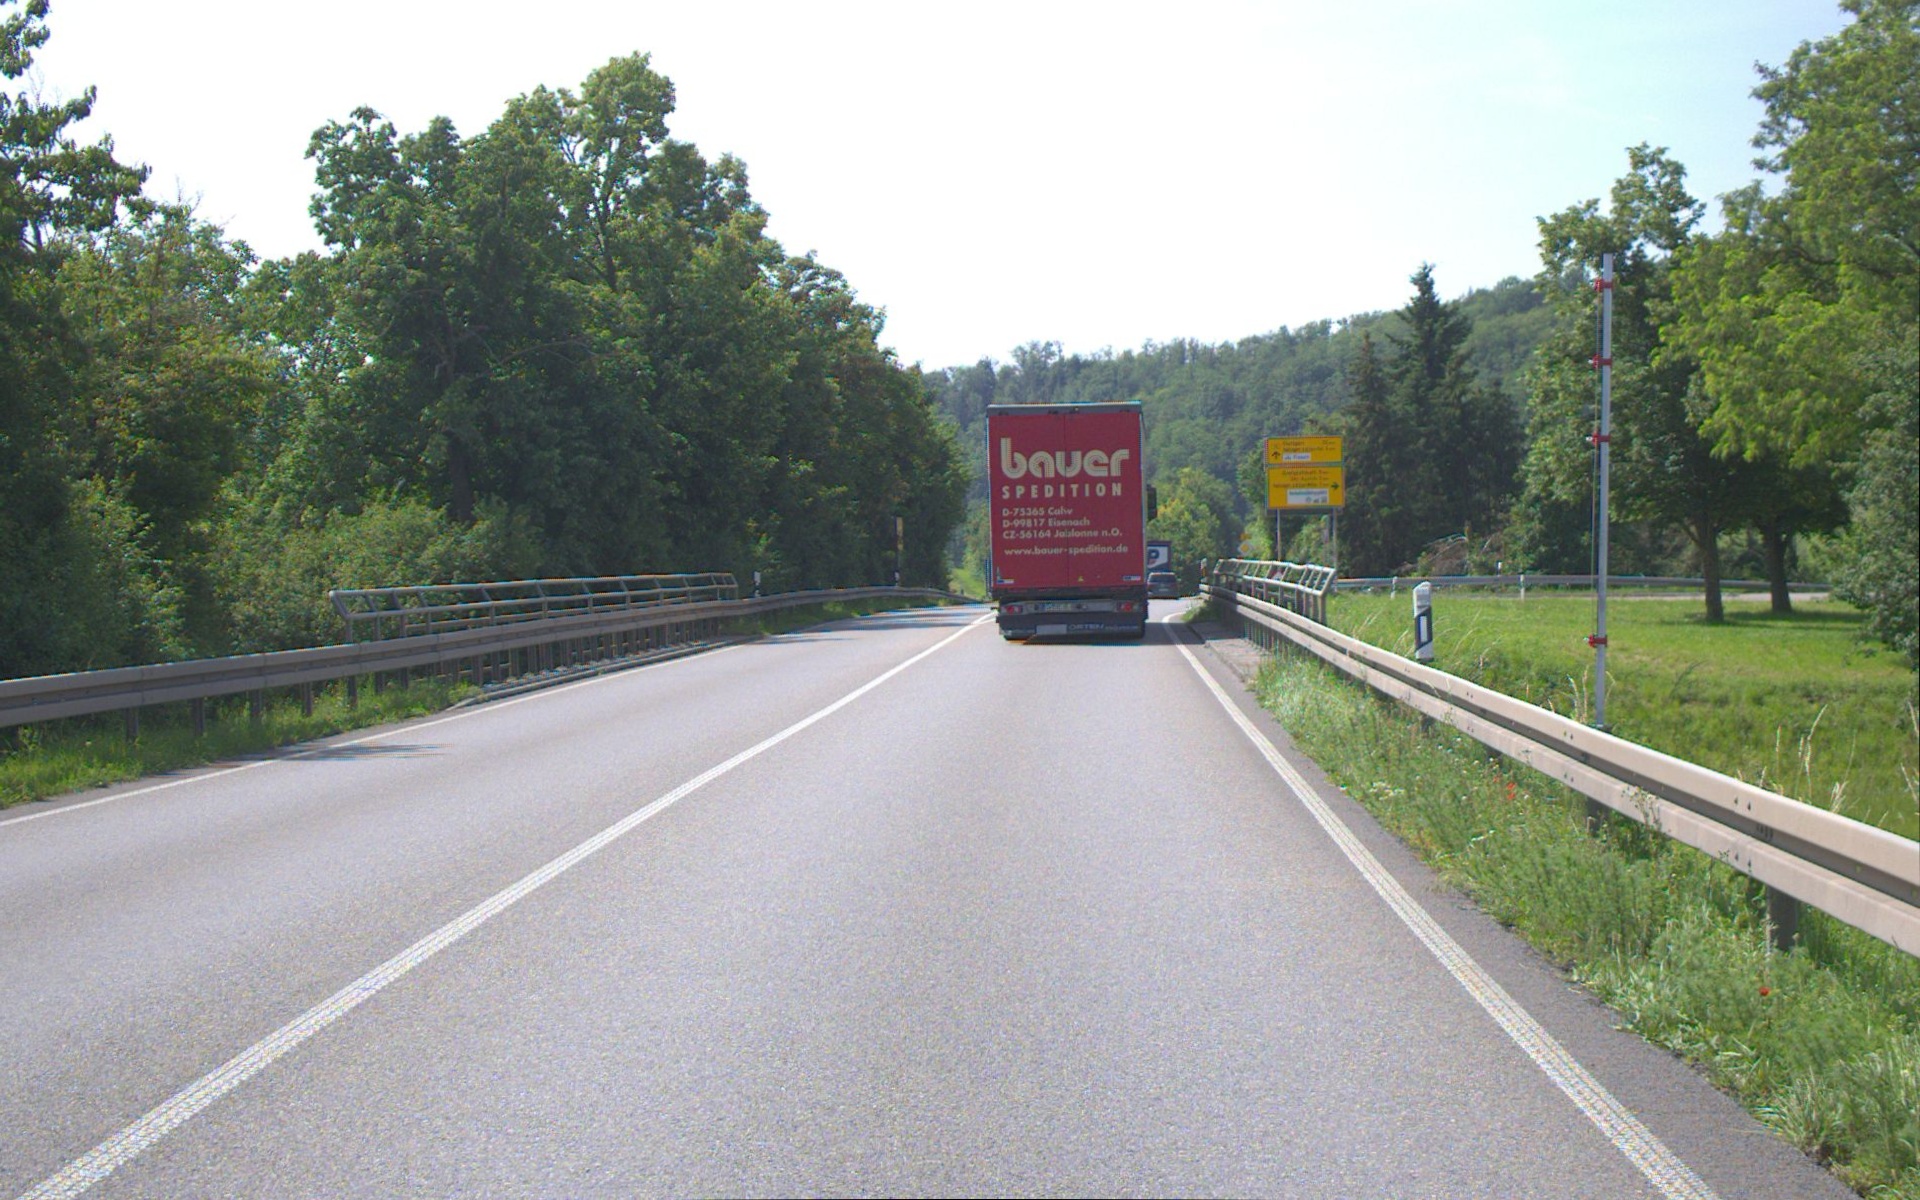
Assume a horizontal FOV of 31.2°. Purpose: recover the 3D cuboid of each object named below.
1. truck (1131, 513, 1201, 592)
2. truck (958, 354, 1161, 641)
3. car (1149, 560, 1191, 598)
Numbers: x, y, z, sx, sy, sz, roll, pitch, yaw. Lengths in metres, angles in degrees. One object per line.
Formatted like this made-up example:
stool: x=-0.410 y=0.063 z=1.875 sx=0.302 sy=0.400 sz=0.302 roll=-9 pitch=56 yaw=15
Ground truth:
truck: x=12.564 y=-2.830 z=208.521 sx=3.906 sy=4.355 sz=13.289 roll=1 pitch=-1 yaw=5
truck: x=2.013 y=-1.757 z=62.837 sx=3.172 sy=4.609 sz=13.542 roll=-1 pitch=1 yaw=4
car: x=10.815 y=-1.088 z=177.326 sx=1.994 sy=1.804 sz=3.999 roll=2 pitch=-1 yaw=2
